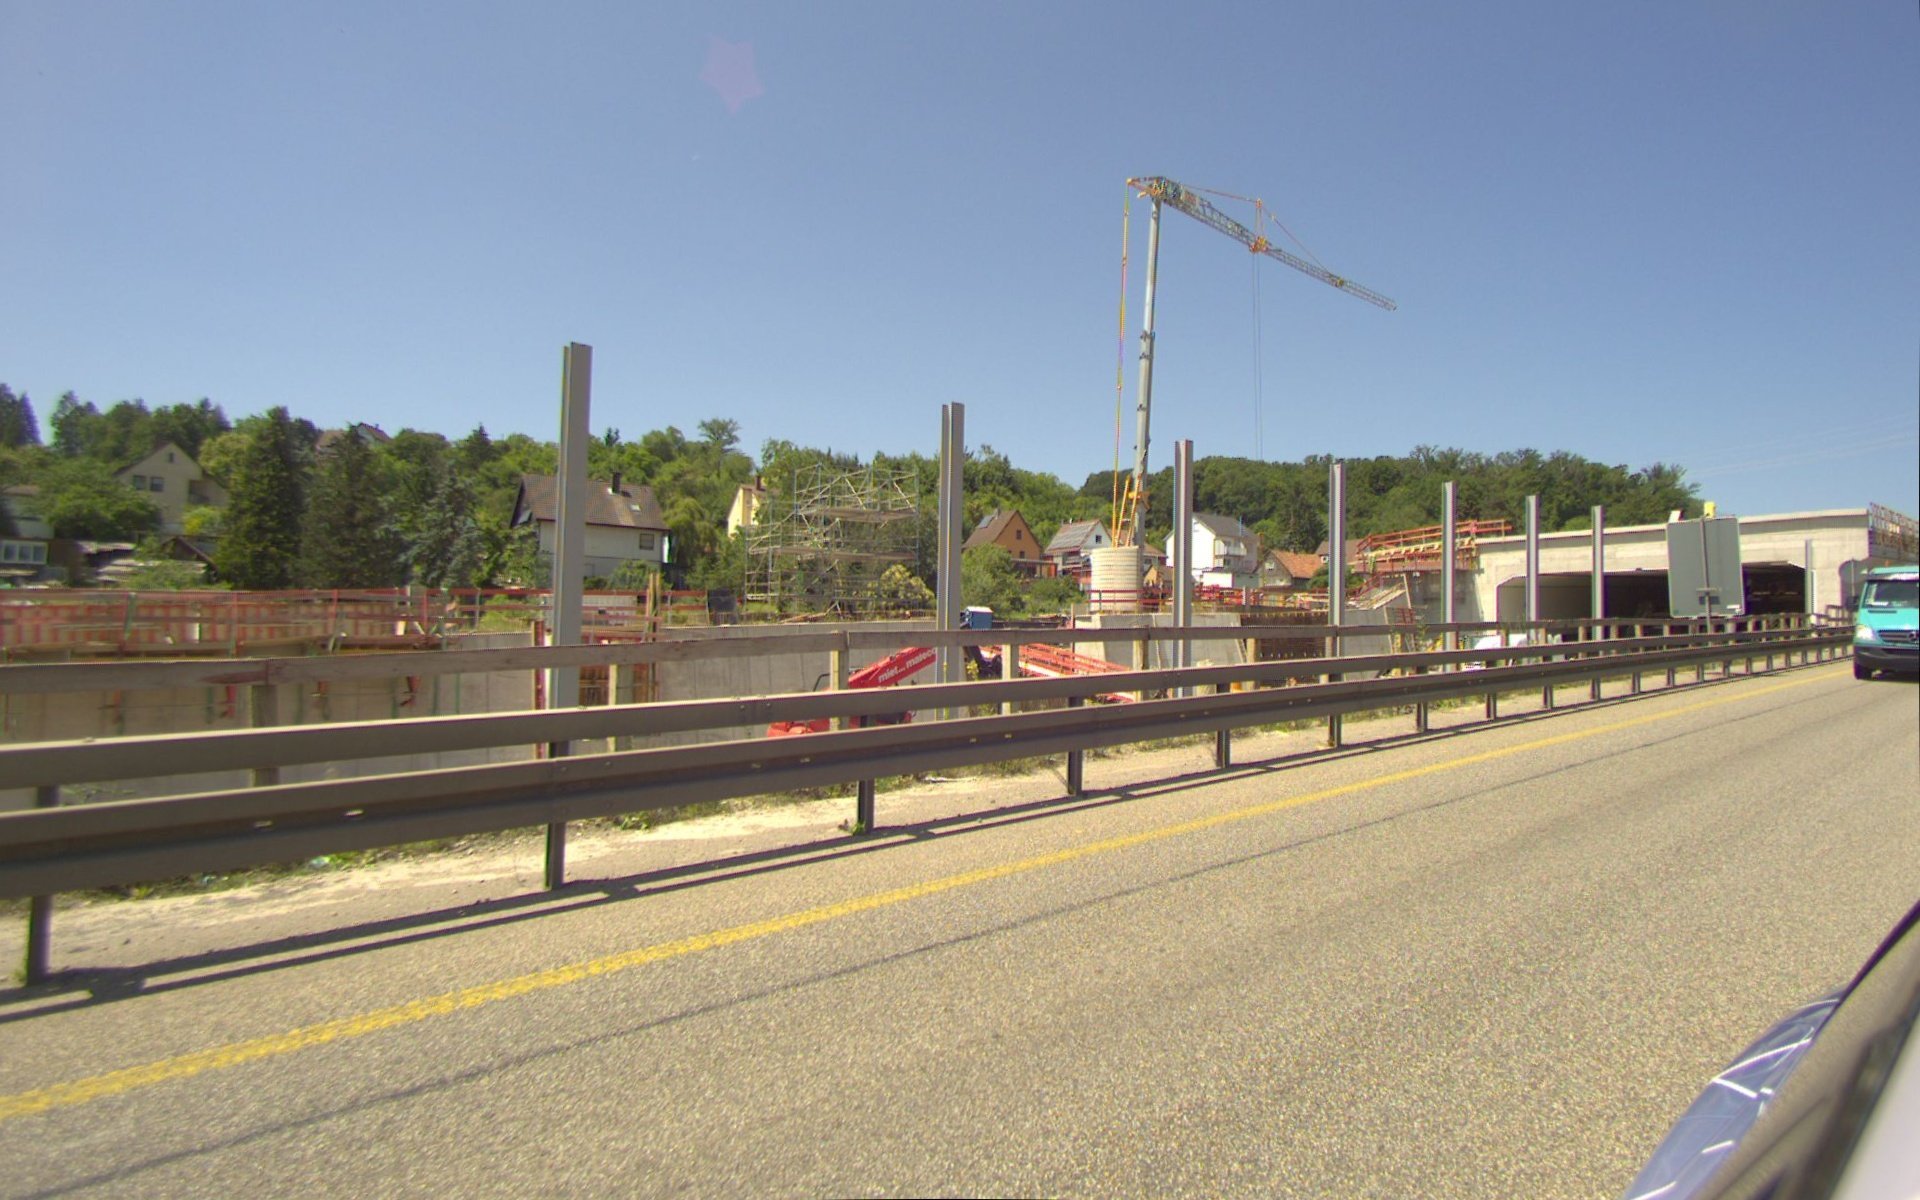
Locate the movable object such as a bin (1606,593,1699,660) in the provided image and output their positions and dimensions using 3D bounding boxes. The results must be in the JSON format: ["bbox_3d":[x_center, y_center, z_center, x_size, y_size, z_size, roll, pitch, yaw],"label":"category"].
[{"bbox_3d":[46.584,1.635,67.989,8.997,4.113,2.959,-2,1,-41],"label":"movable object such as a bin"}]

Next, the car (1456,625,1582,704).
[{"bbox_3d":[24.220,2.664,43.727,6.893,2.891,2.151,-1,1,-37],"label":"car"}]

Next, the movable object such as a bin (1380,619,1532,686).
[{"bbox_3d":[27.804,3.048,57.158,3.425,2.941,7.159,-1,-8,-18],"label":"movable object such as a bin"}]

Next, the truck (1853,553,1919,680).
[{"bbox_3d":[20.842,0.229,21.191,7.302,2.387,2.138,-2,1,-40],"label":"truck"}]

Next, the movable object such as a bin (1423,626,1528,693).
[{"bbox_3d":[24.163,2.695,47.348,5.397,2.710,2.151,-1,1,-36],"label":"movable object such as a bin"}]

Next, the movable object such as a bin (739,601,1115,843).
[{"bbox_3d":[-0.478,2.539,25.333,9.488,4.802,3.233,-2,1,-41],"label":"movable object such as a bin"}]

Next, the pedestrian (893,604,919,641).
[{"bbox_3d":[-3.008,1.236,56.273,0.954,2.012,1.140,-1,1,-37],"label":"pedestrian"}]
